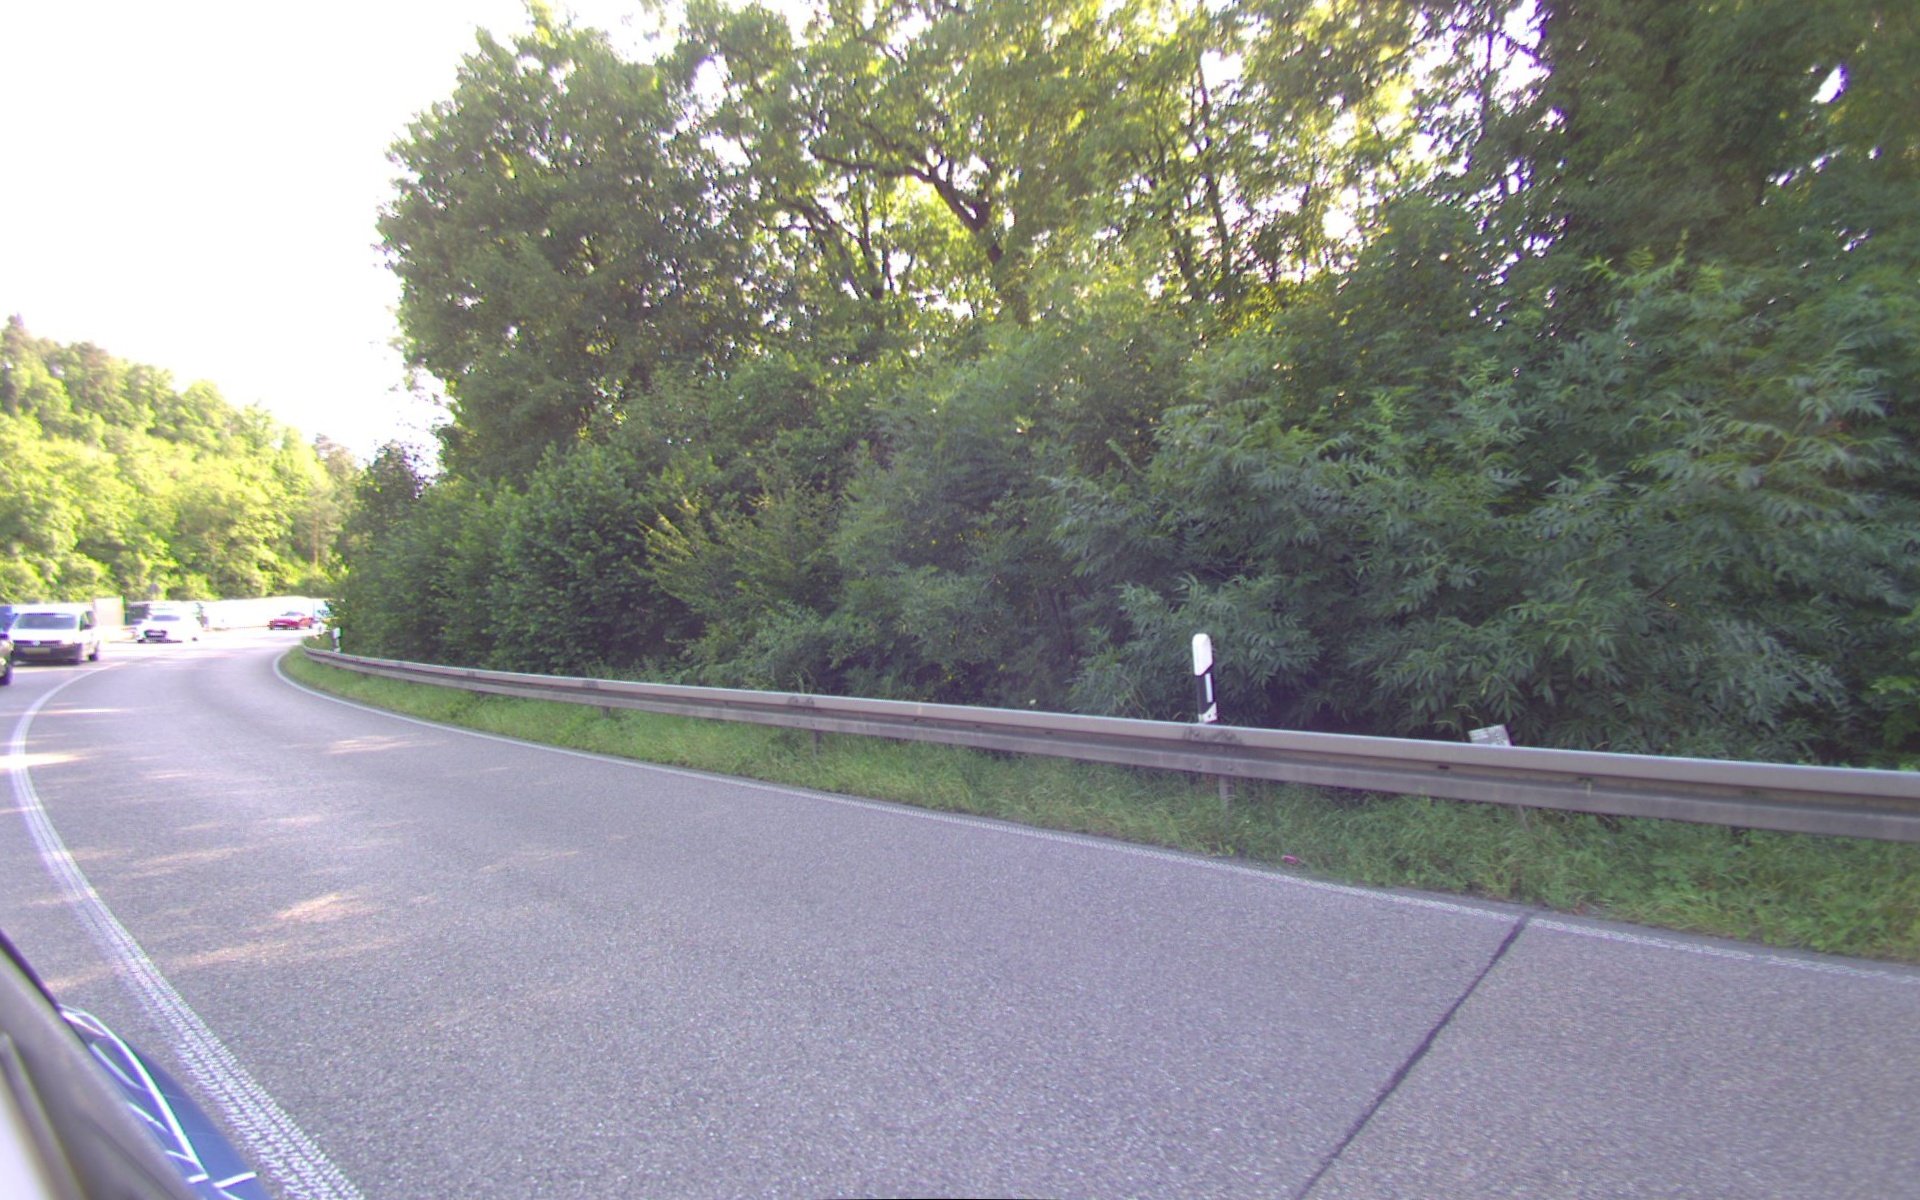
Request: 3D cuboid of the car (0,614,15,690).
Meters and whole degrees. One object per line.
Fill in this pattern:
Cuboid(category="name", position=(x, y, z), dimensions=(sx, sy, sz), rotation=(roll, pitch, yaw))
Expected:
Cuboid(category="car", position=(-20.458, 1.067, 20.185), dimensions=(1.819, 1.582, 4.267), rotation=(0, -2, -36))

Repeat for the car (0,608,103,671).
Cuboid(category="car", position=(-27.776, 1.133, 30.859), dimensions=(1.837, 1.733, 4.777), rotation=(0, 0, -32))

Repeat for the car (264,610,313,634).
Cuboid(category="car", position=(-46.964, 1.504, 70.845), dimensions=(1.829, 1.431, 4.433), rotation=(-3, 1, -20))

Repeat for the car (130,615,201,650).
Cuboid(category="car", position=(-38.361, 1.522, 48.962), dimensions=(1.865, 1.456, 4.490), rotation=(-3, 1, -28))
